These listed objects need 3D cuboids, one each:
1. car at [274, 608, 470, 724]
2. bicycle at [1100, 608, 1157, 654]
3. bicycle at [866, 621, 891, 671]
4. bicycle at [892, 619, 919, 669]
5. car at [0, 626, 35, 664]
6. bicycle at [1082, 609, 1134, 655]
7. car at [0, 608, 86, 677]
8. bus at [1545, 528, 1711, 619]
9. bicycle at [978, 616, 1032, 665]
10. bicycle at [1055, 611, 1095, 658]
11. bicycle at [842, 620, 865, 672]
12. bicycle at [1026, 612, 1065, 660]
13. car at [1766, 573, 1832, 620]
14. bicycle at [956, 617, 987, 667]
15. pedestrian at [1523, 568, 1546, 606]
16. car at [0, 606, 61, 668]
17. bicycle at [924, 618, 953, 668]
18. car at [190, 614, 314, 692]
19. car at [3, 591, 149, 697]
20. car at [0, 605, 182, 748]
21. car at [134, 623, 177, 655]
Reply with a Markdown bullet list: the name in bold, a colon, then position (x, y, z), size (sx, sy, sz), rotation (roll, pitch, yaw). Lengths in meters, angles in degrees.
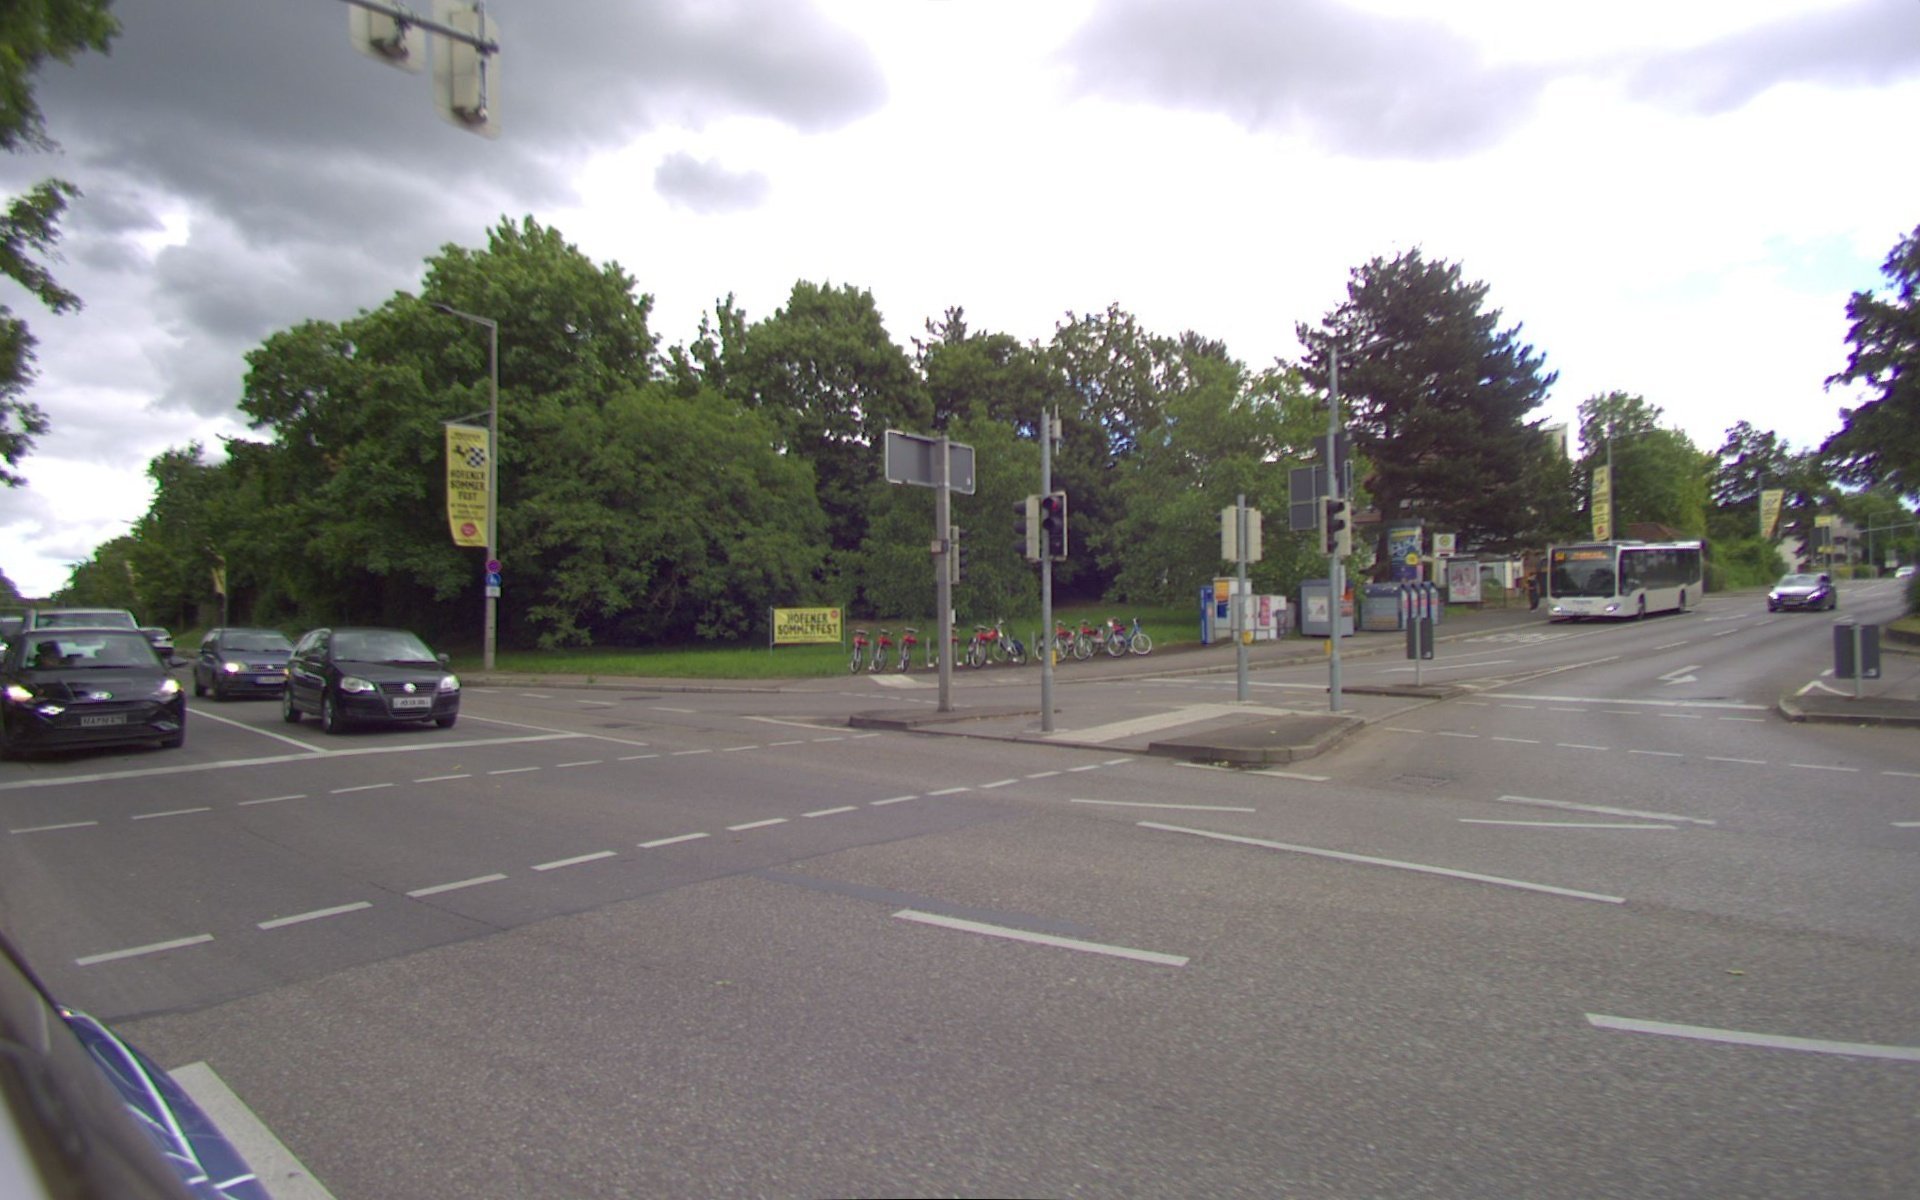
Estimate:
- **car**: position (-8.710, 0.910, 14.861), size (1.538, 1.478, 3.810), rotation (4, -4, -44)
- **bicycle**: position (4.870, 0.875, 29.354), size (0.536, 1.262, 1.941), rotation (-1, 0, -28)
- **bicycle**: position (-2.175, 1.204, 26.959), size (0.537, 1.262, 1.938), rotation (-1, 0, -7)
- **bicycle**: position (-1.482, 1.163, 27.194), size (0.537, 1.262, 1.938), rotation (-1, 0, -7)
- **car**: position (-34.450, 1.605, 36.473), size (1.537, 1.276, 3.825), rotation (1, -1, -44)
- **bicycle**: position (4.224, 0.895, 29.075), size (0.536, 1.262, 1.942), rotation (-1, 0, -22)
- **car**: position (-24.953, 1.141, 27.347), size (1.731, 1.731, 4.337), rotation (2, -3, -45)
- **bus**: position (27.881, -1.213, 41.856), size (12.161, 3.186, 2.683), rotation (-4, 2, -42)
- **bicycle**: position (1.208, 1.081, 27.750), size (0.536, 1.262, 1.941), rotation (-1, 0, -28)
- **bicycle**: position (3.229, 0.939, 28.558), size (0.537, 1.262, 1.940), rotation (-1, 0, -12)
- **bicycle**: position (-2.829, 1.185, 26.725), size (0.537, 1.262, 1.938), rotation (-1, 0, -7)
- **bicycle**: position (2.370, 0.989, 28.202), size (0.537, 1.262, 1.940), rotation (-1, 0, -12)
- **car**: position (35.324, -0.157, 42.566), size (1.999, 1.867, 4.682), rotation (-1, 0, 41)
- **bicycle**: position (0.300, 1.113, 27.391), size (0.537, 1.262, 1.938), rotation (-1, 0, -7)
- **pedestrian**: position (25.817, -0.571, 45.473), size (0.559, 1.688, 0.704), rotation (-1, 0, -42)
- **car**: position (-29.553, 1.119, 31.773), size (1.782, 1.808, 4.506), rotation (-1, -1, -44)
- **bicycle**: position (-0.582, 1.135, 27.154), size (0.537, 1.262, 1.938), rotation (-1, 0, -7)
- **car**: position (-14.962, 1.091, 21.314), size (1.572, 1.479, 3.933), rotation (3, -3, -43)
- **car**: position (-17.788, 0.841, 20.264), size (1.885, 1.857, 5.285), rotation (1, -2, -45)
- **car**: position (-10.917, 0.848, 12.368), size (3.668, 1.492, 1.685), rotation (-2, -2, 44)
- **car**: position (-42.448, 2.022, 53.386), size (1.717, 1.550, 3.917), rotation (-1, -1, -39)
